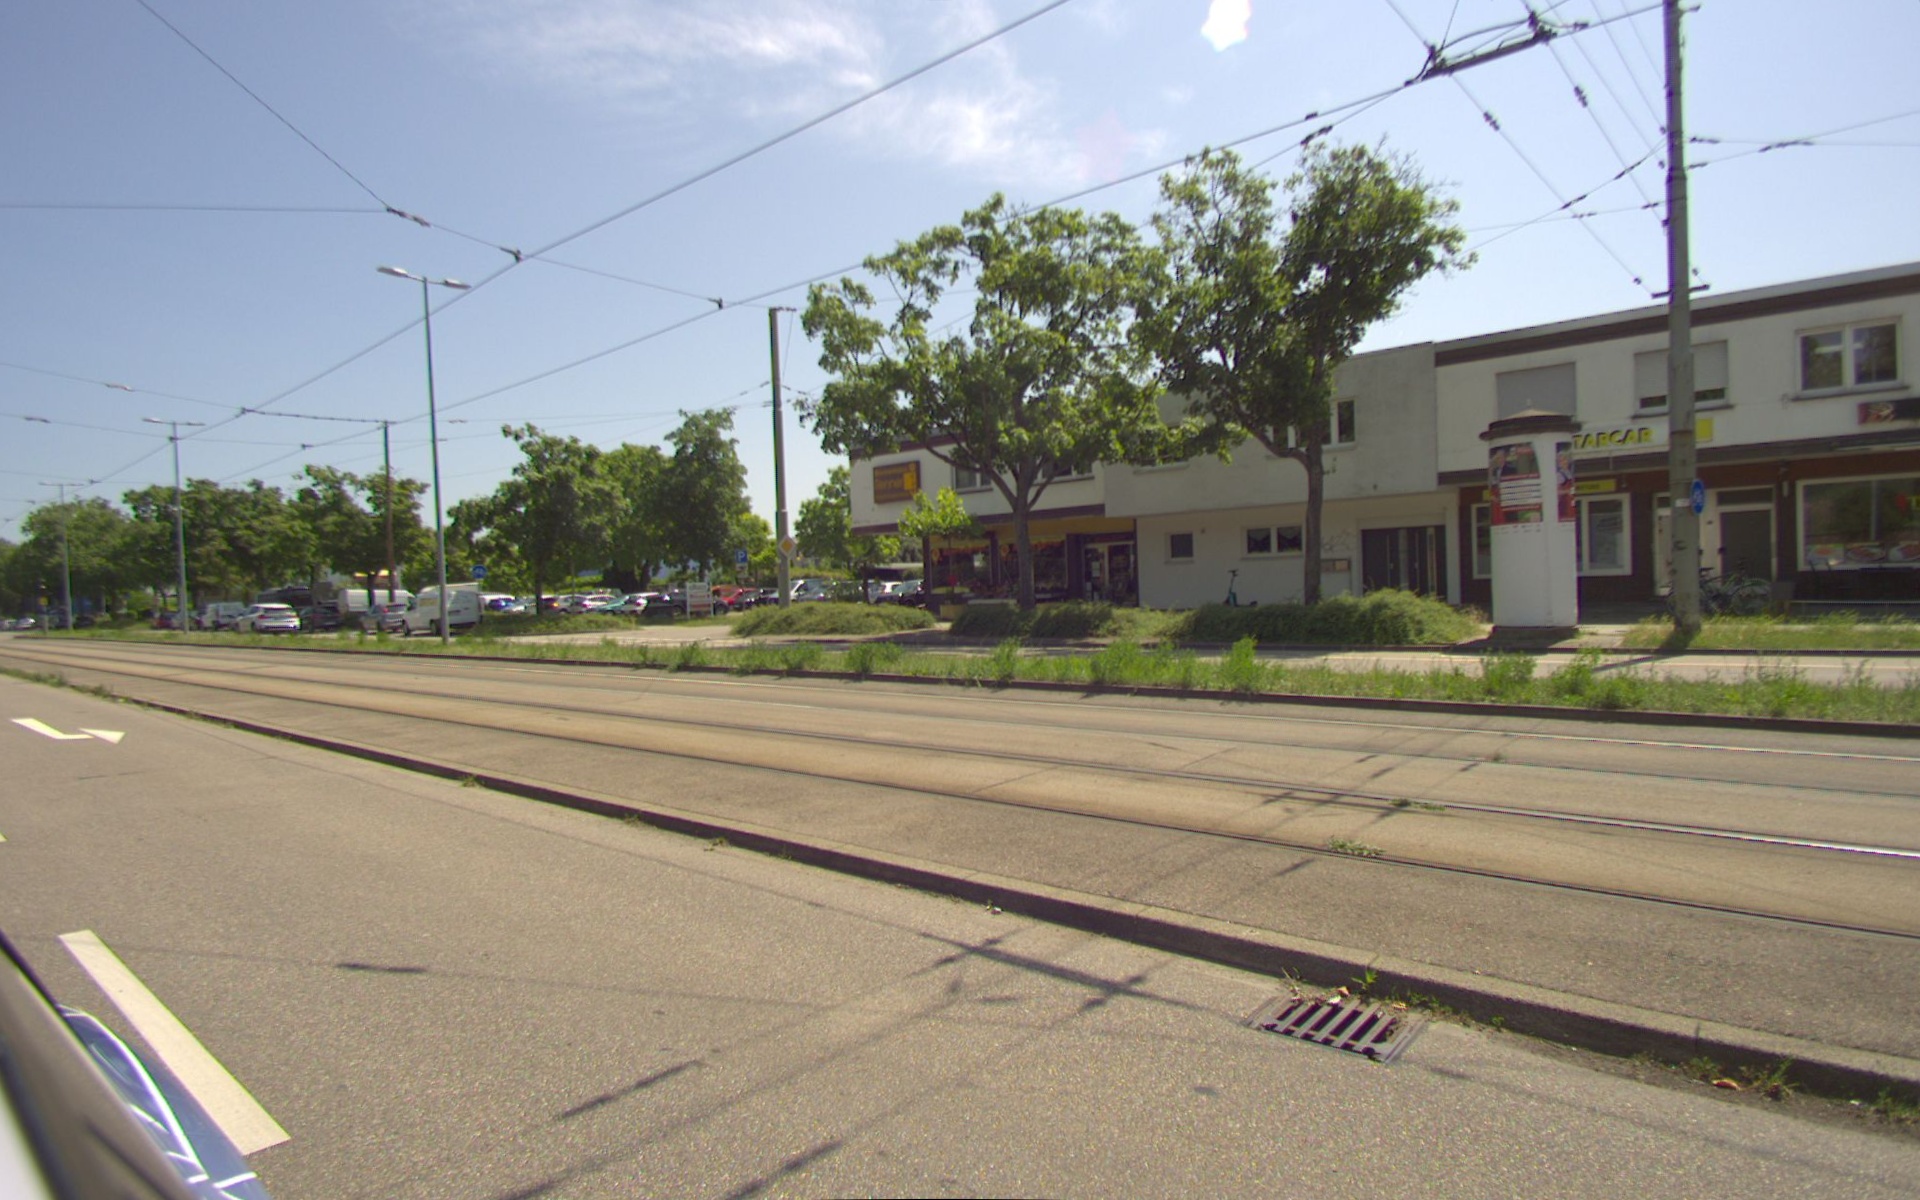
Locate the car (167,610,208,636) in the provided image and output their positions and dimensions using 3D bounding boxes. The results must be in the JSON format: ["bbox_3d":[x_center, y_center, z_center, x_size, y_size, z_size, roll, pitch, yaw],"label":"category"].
[{"bbox_3d":[-58.680,1.701,76.893,4.495,1.907,1.614,-1,0,41],"label":"car"}]

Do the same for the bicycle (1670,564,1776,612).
[{"bbox_3d":[16.164,-0.248,21.462,1.758,0.986,0.533,-1,0,41],"label":"bicycle"}]

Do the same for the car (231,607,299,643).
[{"bbox_3d":[-33.586,1.183,48.863,4.569,1.622,1.705,-1,0,43],"label":"car"}]

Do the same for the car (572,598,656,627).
[{"bbox_3d":[-18.766,0.650,55.046,1.908,1.501,3.995,-1,0,34],"label":"car"}]

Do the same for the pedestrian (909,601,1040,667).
[{"bbox_3d":[0.449,1.072,33.656,3.997,2.029,1.973,-1,0,41],"label":"pedestrian"}]

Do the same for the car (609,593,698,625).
[{"bbox_3d":[-16.274,0.467,53.848,1.983,1.501,4.120,-1,1,40],"label":"car"}]

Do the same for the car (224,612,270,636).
[{"bbox_3d":[-46.653,1.576,66.215,3.608,1.475,1.744,-1,0,42],"label":"car"}]

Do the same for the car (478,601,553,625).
[{"bbox_3d":[-28.100,0.826,64.063,1.794,1.417,3.950,-2,0,37],"label":"car"}]

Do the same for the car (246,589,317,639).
[{"bbox_3d":[-40.772,0.837,60.730,5.666,2.859,2.214,-1,0,42],"label":"car"}]

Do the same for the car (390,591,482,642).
[{"bbox_3d":[-23.876,0.737,46.018,5.342,2.025,1.856,-1,4,42],"label":"car"}]

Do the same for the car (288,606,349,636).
[{"bbox_3d":[-35.904,1.176,56.619,3.751,1.589,1.950,-1,0,42],"label":"car"}]

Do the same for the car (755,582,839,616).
[{"bbox_3d":[-10.378,-0.109,64.735,2.225,2.085,5.055,-1,0,41],"label":"car"}]

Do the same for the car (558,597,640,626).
[{"bbox_3d":[-20.294,0.634,57.045,1.855,1.501,4.099,-1,0,34],"label":"car"}]

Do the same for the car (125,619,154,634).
[{"bbox_3d":[-72.460,2.336,89.343,3.423,1.167,1.561,-1,0,43],"label":"car"}]

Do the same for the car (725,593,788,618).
[{"bbox_3d":[-13.677,0.367,68.180,1.683,1.597,3.948,-1,0,39],"label":"car"}]

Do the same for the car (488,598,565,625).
[{"bbox_3d":[-26.425,0.699,61.769,1.862,1.499,3.955,-2,1,34],"label":"car"}]

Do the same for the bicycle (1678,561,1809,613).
[{"bbox_3d":[15.580,-0.237,20.161,2.028,0.986,0.604,-1,0,41],"label":"bicycle"}]

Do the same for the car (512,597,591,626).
[{"bbox_3d":[-24.315,0.668,60.406,1.827,1.501,4.030,-2,1,34],"label":"car"}]

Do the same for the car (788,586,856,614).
[{"bbox_3d":[-8.600,-0.001,63.083,1.804,1.669,3.943,-1,0,43],"label":"car"}]

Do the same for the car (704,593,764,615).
[{"bbox_3d":[-15.687,0.272,70.423,1.712,1.505,3.953,-1,0,35],"label":"car"}]

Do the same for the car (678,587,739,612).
[{"bbox_3d":[-17.733,-0.019,71.543,1.689,1.665,4.081,-2,0,35],"label":"car"}]

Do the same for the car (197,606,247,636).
[{"bbox_3d":[-51.100,1.436,70.020,4.816,1.963,1.899,-1,0,43],"label":"car"}]

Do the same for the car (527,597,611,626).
[{"bbox_3d":[-22.445,0.644,58.234,2.018,1.501,4.117,-2,1,34],"label":"car"}]

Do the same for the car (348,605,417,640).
[{"bbox_3d":[-28.649,1.092,50.158,4.124,1.513,1.633,-1,4,42],"label":"car"}]

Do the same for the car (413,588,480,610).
[{"bbox_3d":[-51.460,-0.126,101.531,2.145,2.078,5.674,-1,0,38],"label":"car"}]

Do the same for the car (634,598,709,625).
[{"bbox_3d":[-14.706,0.578,51.719,1.639,1.241,3.385,-2,1,34],"label":"car"}]

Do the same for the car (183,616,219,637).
[{"bbox_3d":[-55.206,1.897,73.601,3.261,1.489,1.410,-1,0,41],"label":"car"}]

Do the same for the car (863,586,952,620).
[{"bbox_3d":[-2.337,0.119,45.677,1.682,1.306,3.944,-2,0,43],"label":"car"}]

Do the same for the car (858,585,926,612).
[{"bbox_3d":[-3.981,-0.115,59.941,1.661,1.531,3.943,-1,0,43],"label":"car"}]

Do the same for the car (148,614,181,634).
[{"bbox_3d":[-63.786,1.921,81.093,3.423,1.491,1.561,-1,0,43],"label":"car"}]

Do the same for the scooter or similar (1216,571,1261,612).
[{"bbox_3d":[8.311,-0.254,30.226,0.448,1.200,1.349,-1,0,-29],"label":"scooter or similar"}]

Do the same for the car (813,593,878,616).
[{"bbox_3d":[-6.878,0.243,60.927,1.764,1.294,3.675,-1,0,43],"label":"car"}]

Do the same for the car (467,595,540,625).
[{"bbox_3d":[-29.828,0.637,66.141,1.794,1.730,3.951,-2,1,37],"label":"car"}]

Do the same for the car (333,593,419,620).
[{"bbox_3d":[-44.874,0.495,77.892,2.029,1.970,5.363,-1,0,43],"label":"car"}]
